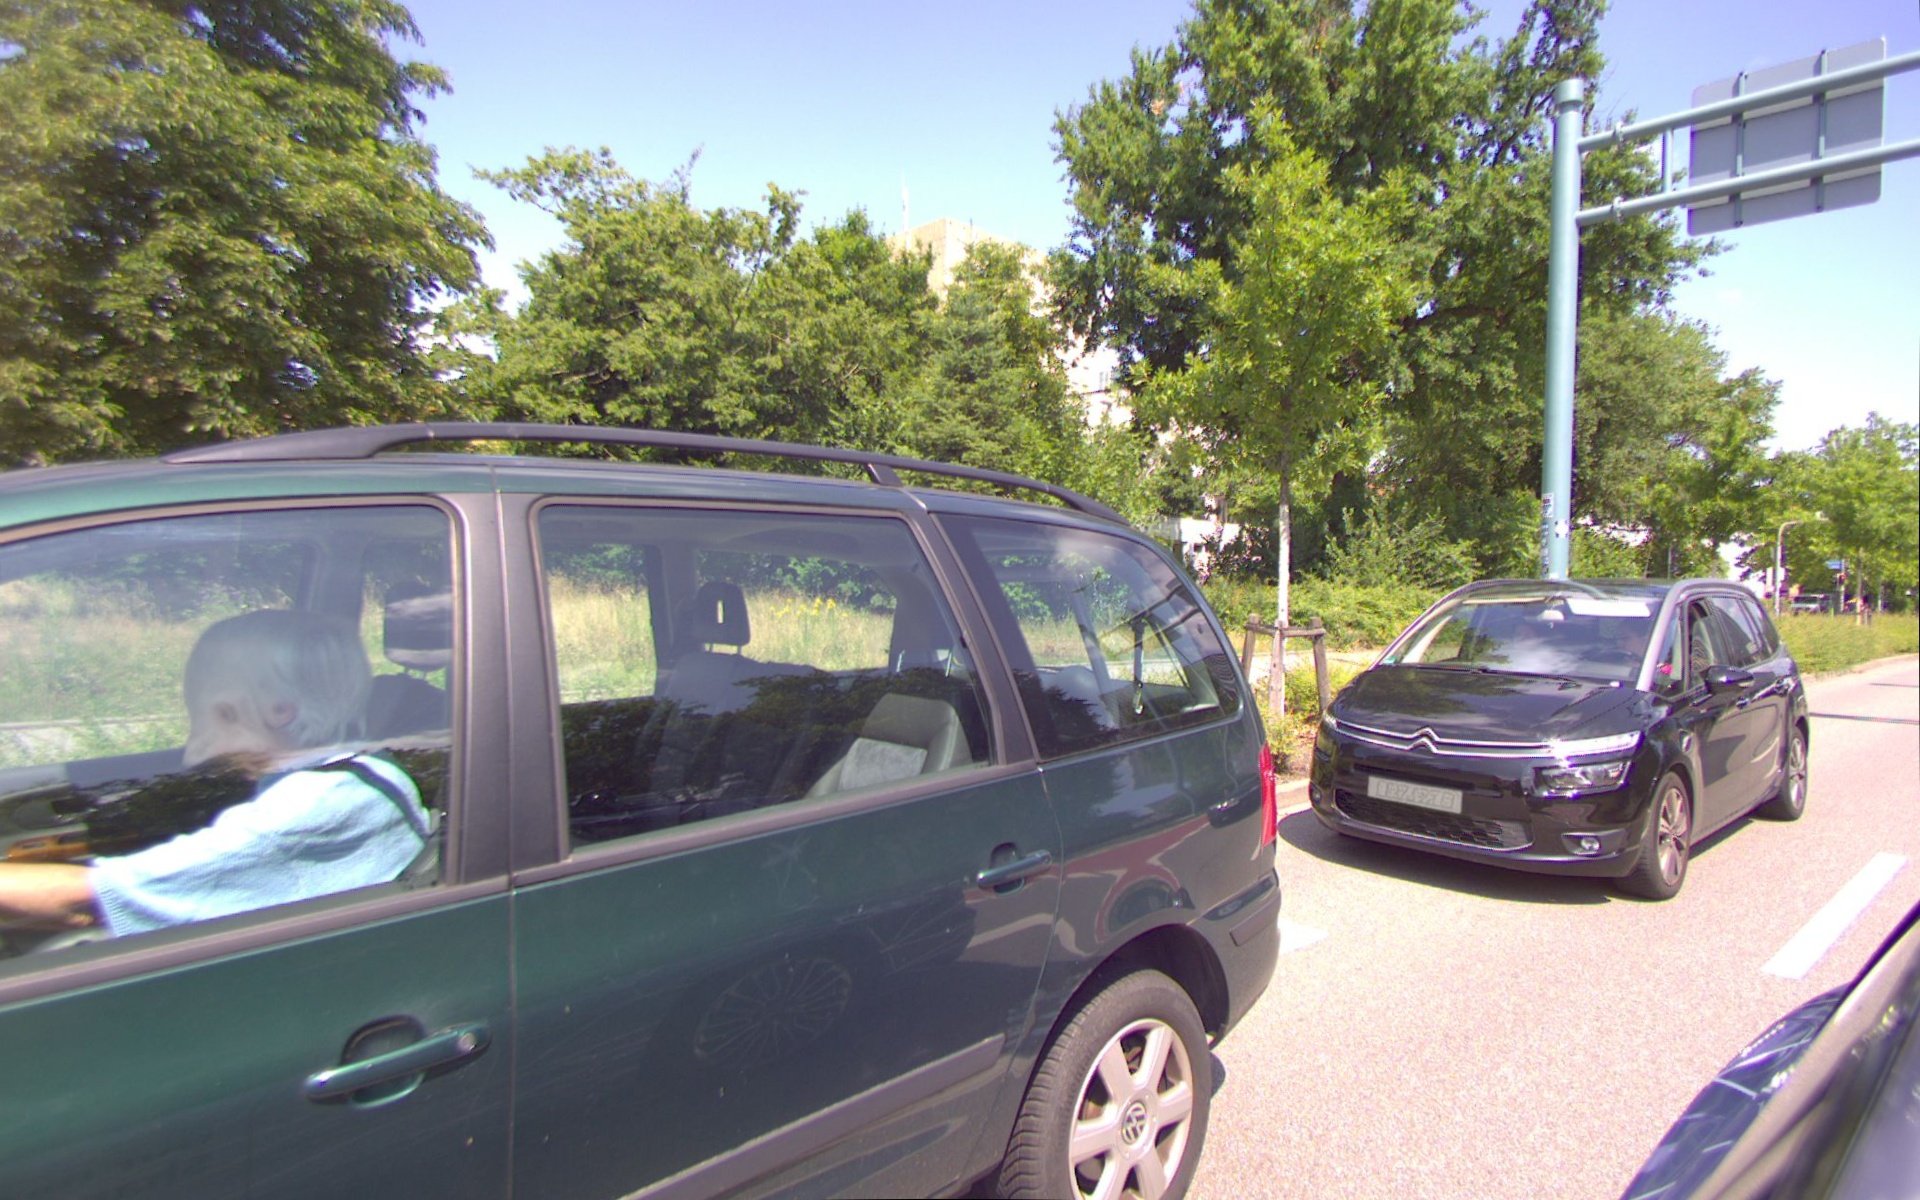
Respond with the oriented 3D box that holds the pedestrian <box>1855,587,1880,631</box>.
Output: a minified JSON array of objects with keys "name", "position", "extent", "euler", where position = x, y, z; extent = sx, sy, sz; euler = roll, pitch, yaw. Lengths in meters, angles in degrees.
[{"name":"pedestrian","position":[37.775,0.372,42.129],"extent":[0.635,1.787,0.875],"euler":[2,1,34]}]

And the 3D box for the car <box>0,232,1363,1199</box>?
[{"name":"car","position":[-1.134,0.524,1.961],"extent":[4.315,1.737,1.804],"euler":[0,-1,-41]}]

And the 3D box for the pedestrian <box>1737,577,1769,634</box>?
[{"name":"pedestrian","position":[29.577,0.192,37.745],"extent":[0.843,2.063,0.888],"euler":[2,1,41]}]

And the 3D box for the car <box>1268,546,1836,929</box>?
[{"name":"car","position":[3.980,0.598,6.450],"extent":[4.400,1.628,1.815],"euler":[1,-1,-41]}]
